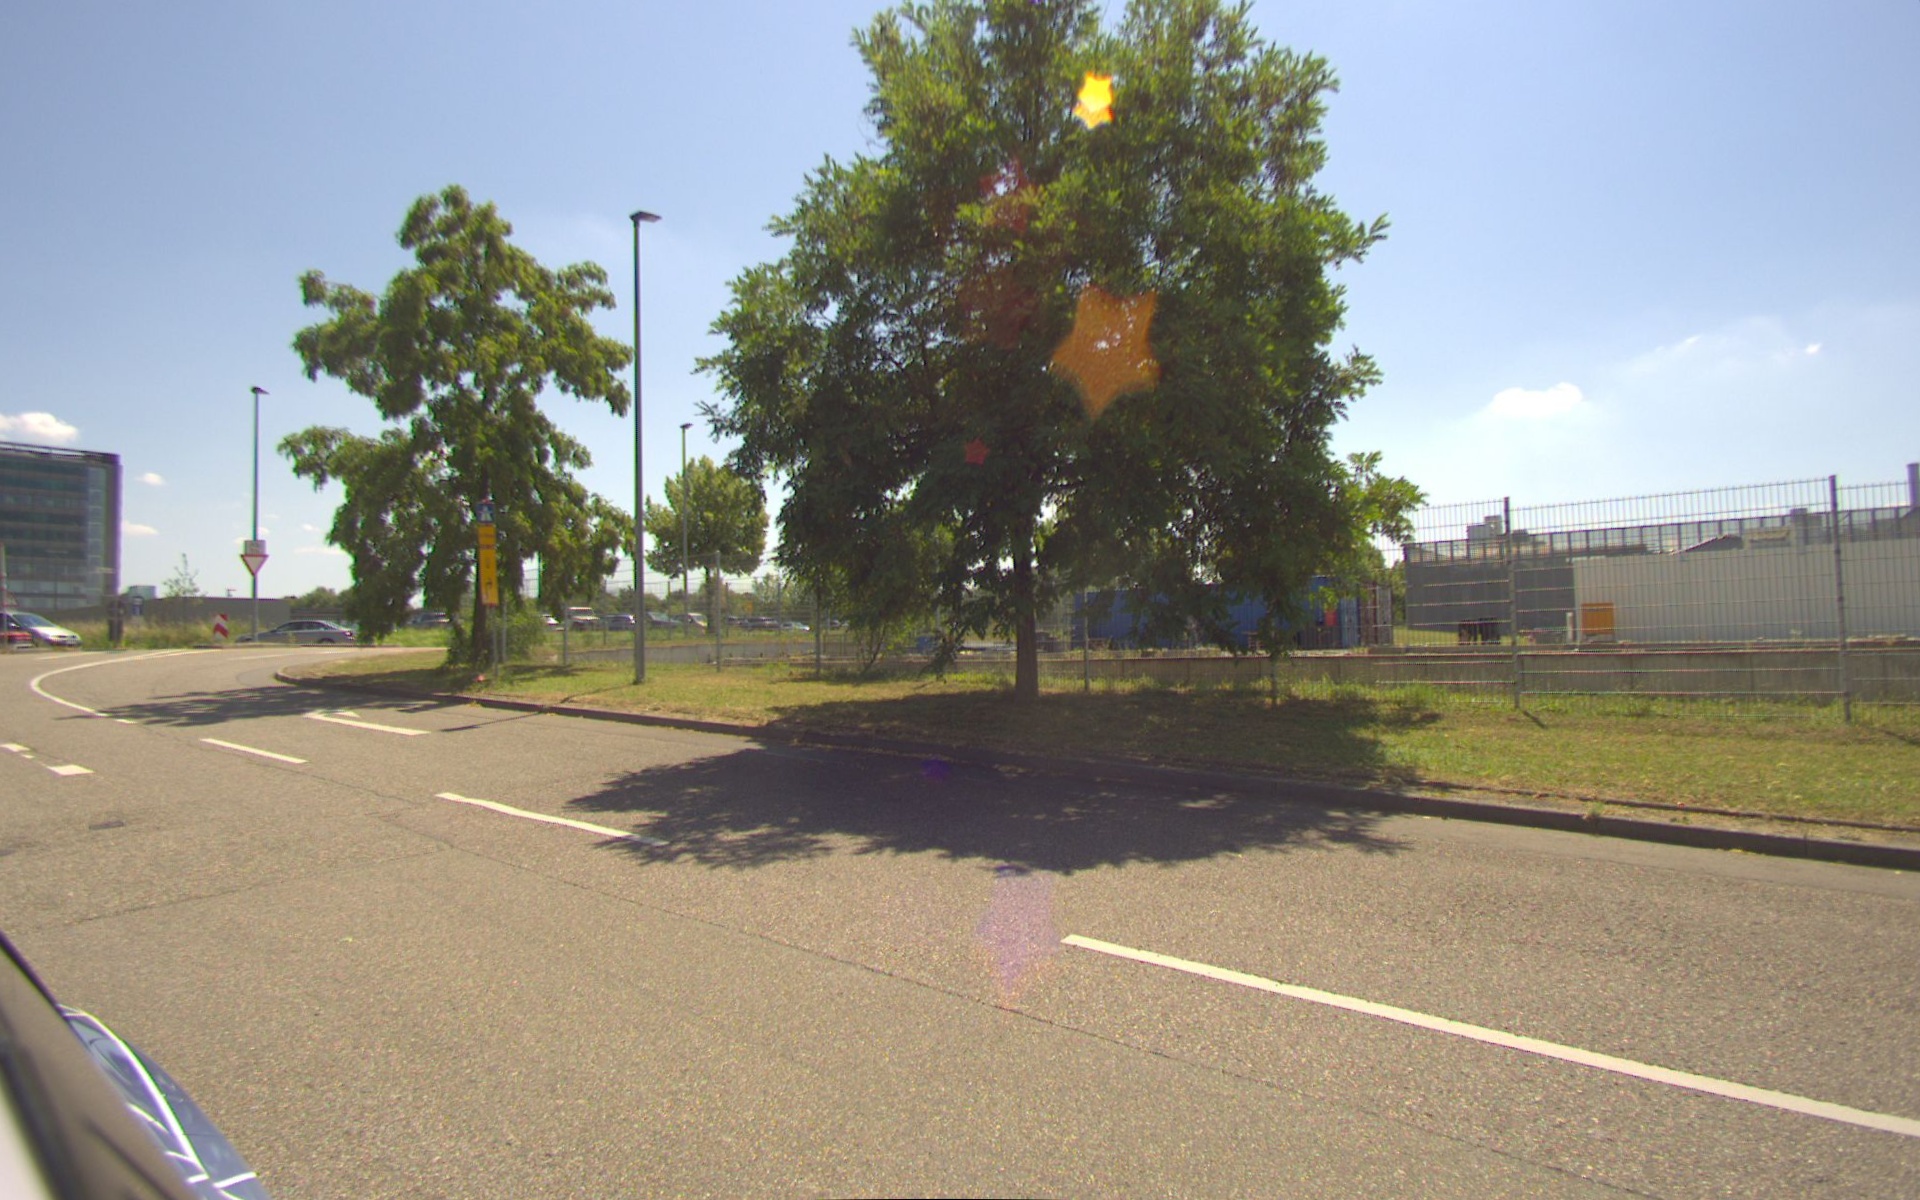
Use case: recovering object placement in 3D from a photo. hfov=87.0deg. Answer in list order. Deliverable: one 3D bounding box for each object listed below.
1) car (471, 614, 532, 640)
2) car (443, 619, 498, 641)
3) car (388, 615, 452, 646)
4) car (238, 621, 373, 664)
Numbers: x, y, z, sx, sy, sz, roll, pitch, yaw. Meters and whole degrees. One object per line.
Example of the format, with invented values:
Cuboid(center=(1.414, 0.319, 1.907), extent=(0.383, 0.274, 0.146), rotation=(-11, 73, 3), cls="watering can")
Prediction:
Cuboid(center=(-25.835, 1.531, 56.979), extent=(3.873, 1.307, 1.554), rotation=(-4, -2, 39), cls="car")
Cuboid(center=(-31.962, 1.939, 66.031), extent=(3.841, 1.373, 1.633), rotation=(-2, -2, 36), cls="car")
Cuboid(center=(-34.073, 1.963, 63.821), extent=(4.595, 1.703, 1.755), rotation=(-4, -5, 36), cls="car")
Cuboid(center=(-27.211, 1.773, 42.212), extent=(4.420, 1.385, 1.679), rotation=(-3, -4, -20), cls="car")
